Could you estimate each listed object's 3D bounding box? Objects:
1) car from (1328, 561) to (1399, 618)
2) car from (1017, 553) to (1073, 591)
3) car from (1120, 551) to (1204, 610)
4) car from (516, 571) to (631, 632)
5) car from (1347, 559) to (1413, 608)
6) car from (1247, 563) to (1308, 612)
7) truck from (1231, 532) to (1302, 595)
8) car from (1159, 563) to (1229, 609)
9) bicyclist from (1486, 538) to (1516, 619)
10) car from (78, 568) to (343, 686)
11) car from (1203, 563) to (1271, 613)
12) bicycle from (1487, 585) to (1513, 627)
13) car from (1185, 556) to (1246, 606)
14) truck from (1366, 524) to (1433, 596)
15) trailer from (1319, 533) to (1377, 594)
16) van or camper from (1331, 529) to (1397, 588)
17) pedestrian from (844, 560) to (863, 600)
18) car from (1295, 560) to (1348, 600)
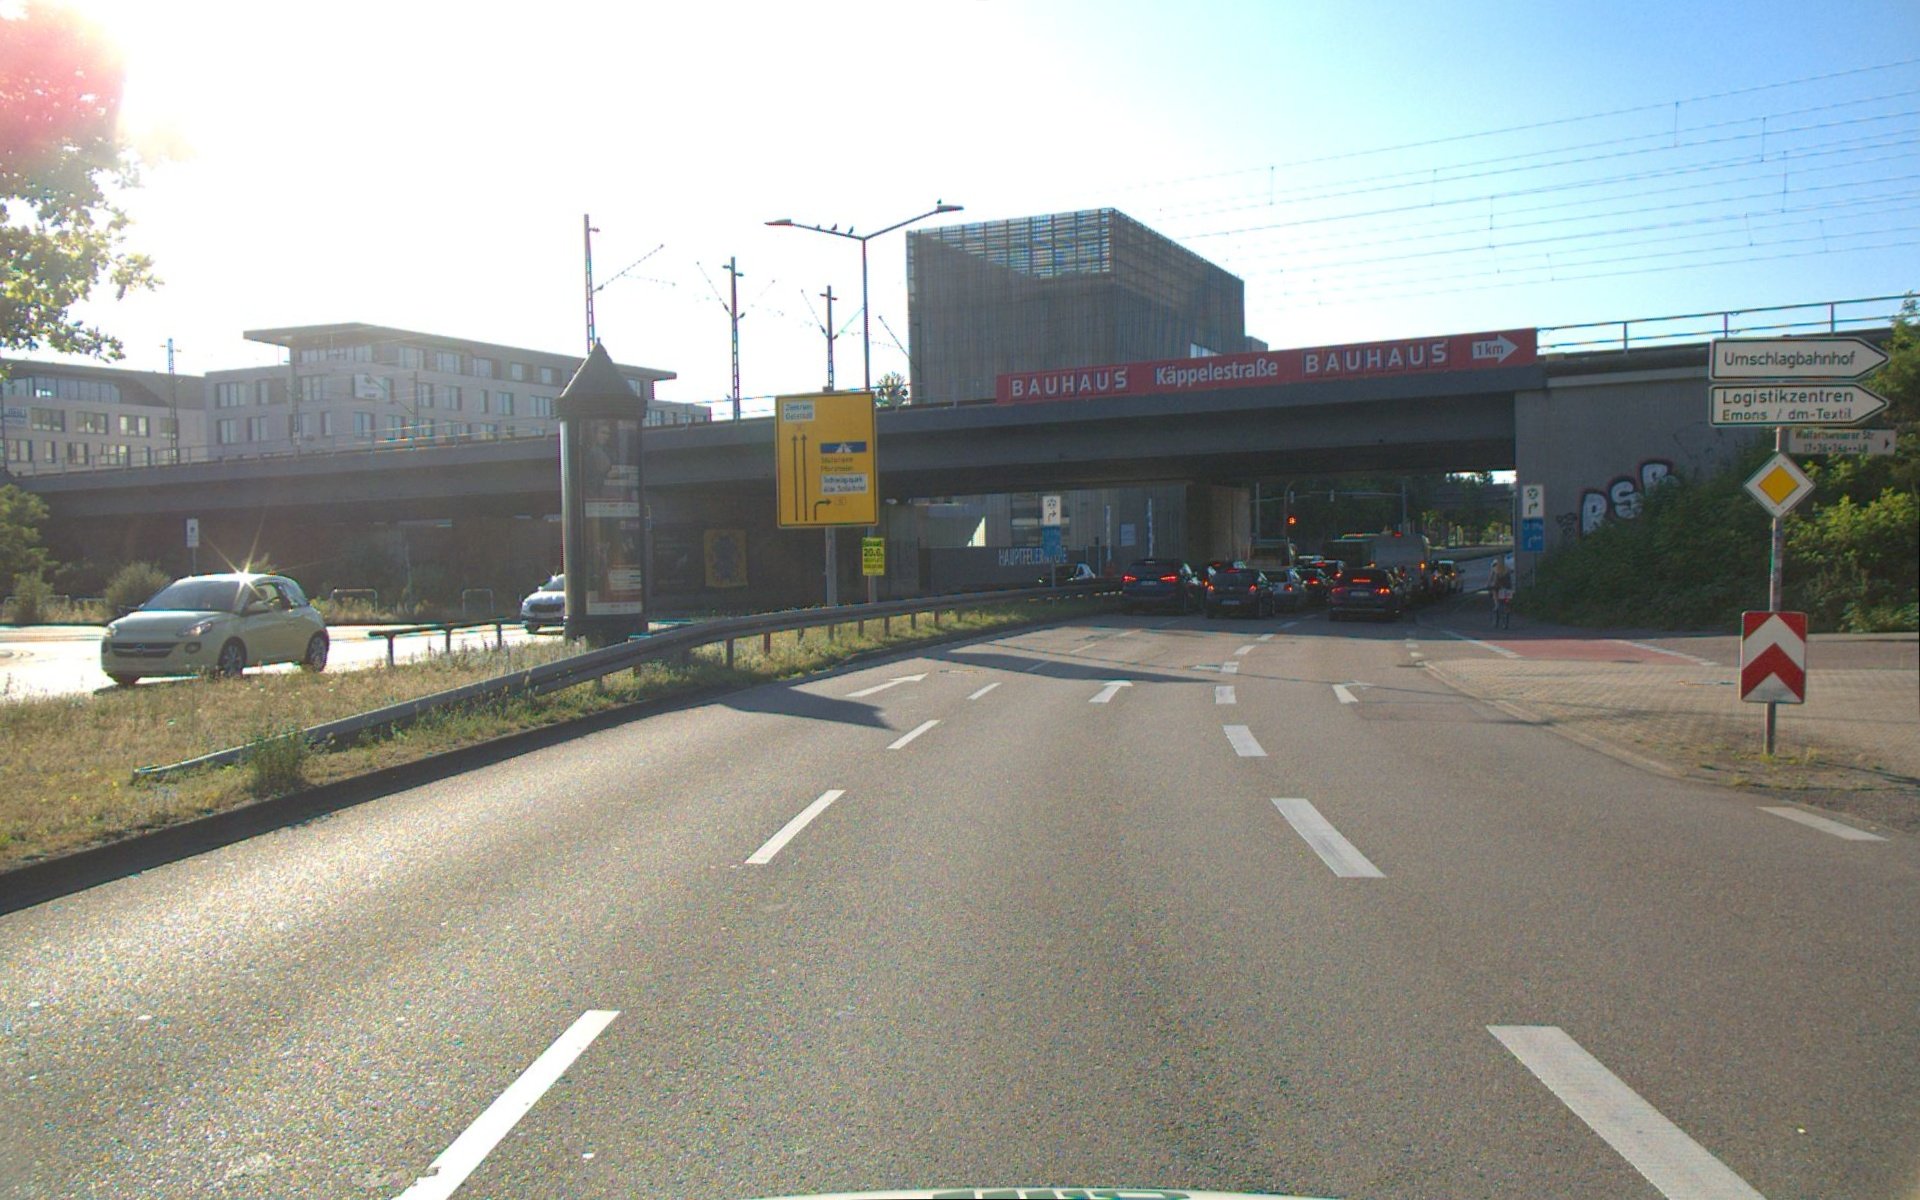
[{"bbox_3d":[11.792,-0.348,48.160,1.704,1.479,4.609,0,2,18],"label":"car"},{"bbox_3d":[4.092,-1.333,78.908,1.806,1.631,4.398,-4,0,14],"label":"car"},{"bbox_3d":[6.414,-0.609,52.063,1.791,1.769,4.464,-1,0,18],"label":"car"},{"bbox_3d":[-9.887,0.040,42.600,1.637,1.488,4.108,-1,0,6],"label":"car"},{"bbox_3d":[14.171,-0.559,55.649,1.736,1.521,3.833,-2,0,20],"label":"car"},{"bbox_3d":[10.384,-0.440,53.962,1.514,1.447,3.420,-4,0,17],"label":"car"},{"bbox_3d":[13.250,-1.547,71.227,1.986,2.601,5.538,0,1,21],"label":"truck"},{"bbox_3d":[8.293,-0.487,58.468,1.802,1.465,3.677,-4,0,17],"label":"car"},{"bbox_3d":[13.170,-0.517,40.278,0.667,1.940,0.833,0,0,18],"label":"bicyclist"},{"bbox_3d":[-10.475,0.357,23.424,1.703,1.488,3.768,-1,0,6],"label":"car"},{"bbox_3d":[8.262,-0.365,49.156,1.548,1.433,3.834,0,0,16],"label":"car"},{"bbox_3d":[13.092,0.124,40.131,0.566,0.980,2.888,-1,0,17],"label":"bicycle"},{"bbox_3d":[9.952,-0.738,64.251,1.802,1.749,4.003,-4,0,15],"label":"car"},{"bbox_3d":[16.709,-1.480,62.809,2.067,2.563,4.403,-2,0,19],"label":"truck"},{"bbox_3d":[16.945,-1.561,72.104,1.826,2.508,3.832,-2,0,22],"label":"trailer"},{"bbox_3d":[18.890,-1.901,77.140,1.954,2.615,5.915,0,1,24],"label":"van or camper"},{"bbox_3d":[-5.231,-0.981,81.230,0.680,1.937,0.665,0,0,23],"label":"pedestrian"},{"bbox_3d":[14.524,-0.800,66.287,1.549,1.559,3.832,0,0,20],"label":"car"}]
